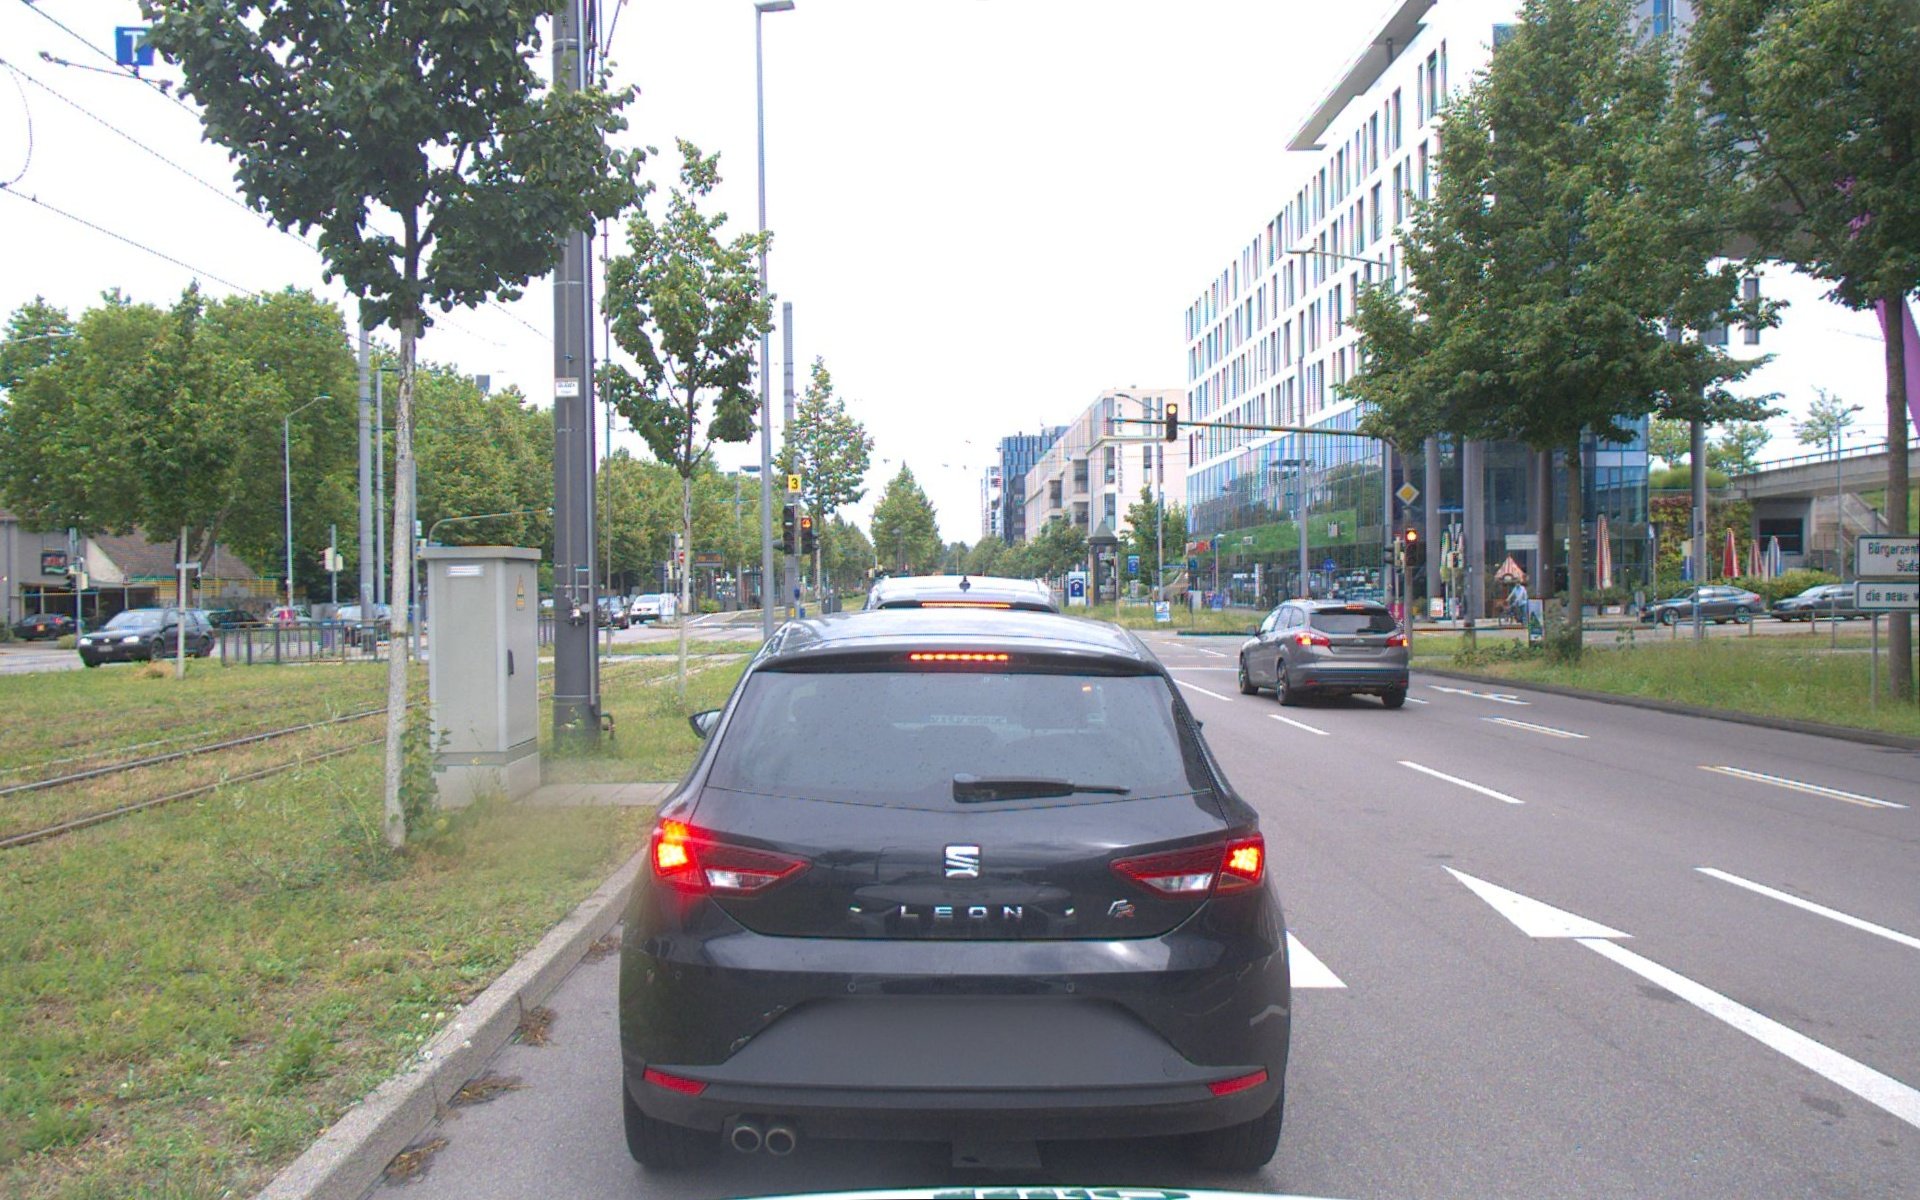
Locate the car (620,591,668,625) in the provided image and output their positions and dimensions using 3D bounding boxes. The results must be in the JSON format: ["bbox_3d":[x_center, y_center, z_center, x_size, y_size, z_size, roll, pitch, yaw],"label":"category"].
[{"bbox_3d":[-17.700,0.425,92.739,1.953,1.780,4.199,-1,0,-2],"label":"car"}]

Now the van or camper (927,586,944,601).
[{"bbox_3d":[-2.923,-0.803,195.238,1.953,1.643,4.789,0,2,0],"label":"van or camper"}]

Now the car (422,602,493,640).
[{"bbox_3d":[-22.994,0.930,75.825,1.774,1.616,5.076,-1,0,-1],"label":"car"}]

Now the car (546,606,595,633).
[{"bbox_3d":[-21.423,1.042,91.046,1.775,1.401,4.268,-1,0,-2],"label":"car"}]

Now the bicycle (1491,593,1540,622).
[{"bbox_3d":[22.360,0.299,66.622,1.755,1.104,0.618,-1,0,1],"label":"bicycle"}]

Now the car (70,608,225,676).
[{"bbox_3d":[-20.255,1.004,41.459,1.630,1.451,4.744,-2,1,-2],"label":"car"}]

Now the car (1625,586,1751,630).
[{"bbox_3d":[28.515,0.319,64.883,4.163,1.643,1.758,-1,0,1],"label":"car"}]

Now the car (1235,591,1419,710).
[{"bbox_3d":[5.337,0.677,24.592,1.712,1.525,4.268,0,1,-1],"label":"car"}]

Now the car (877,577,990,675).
[{"bbox_3d":[-0.433,0.433,31.131,1.952,1.711,4.001,1,1,1],"label":"car"}]

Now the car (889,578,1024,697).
[{"bbox_3d":[0.026,0.523,26.077,1.952,1.711,4.001,1,1,2],"label":"car"}]

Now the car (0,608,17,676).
[{"bbox_3d":[-23.803,1.039,37.980,1.759,1.598,4.328,-1,1,0],"label":"car"}]

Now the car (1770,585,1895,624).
[{"bbox_3d":[34.422,0.162,65.293,3.996,1.480,1.758,-1,0,1],"label":"car"}]

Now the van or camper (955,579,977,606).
[{"bbox_3d":[0.598,-0.761,159.525,2.066,2.397,4.923,0,2,0],"label":"van or camper"}]

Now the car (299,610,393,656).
[{"bbox_3d":[-20.801,1.089,56.159,1.765,1.401,4.056,-1,0,-2],"label":"car"}]

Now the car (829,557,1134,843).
[{"bbox_3d":[0.098,0.569,11.693,1.766,1.653,3.999,-1,0,-1],"label":"car"}]

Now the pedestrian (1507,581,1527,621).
[{"bbox_3d":[22.427,0.037,66.619,0.602,1.632,0.619,-1,0,1],"label":"pedestrian"}]

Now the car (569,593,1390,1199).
[{"bbox_3d":[-0.009,0.717,5.465,1.708,1.442,3.999,1,0,-2],"label":"car"}]

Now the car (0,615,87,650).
[{"bbox_3d":[-50.473,1.772,90.630,4.190,1.847,2.108,-1,0,3],"label":"car"}]
